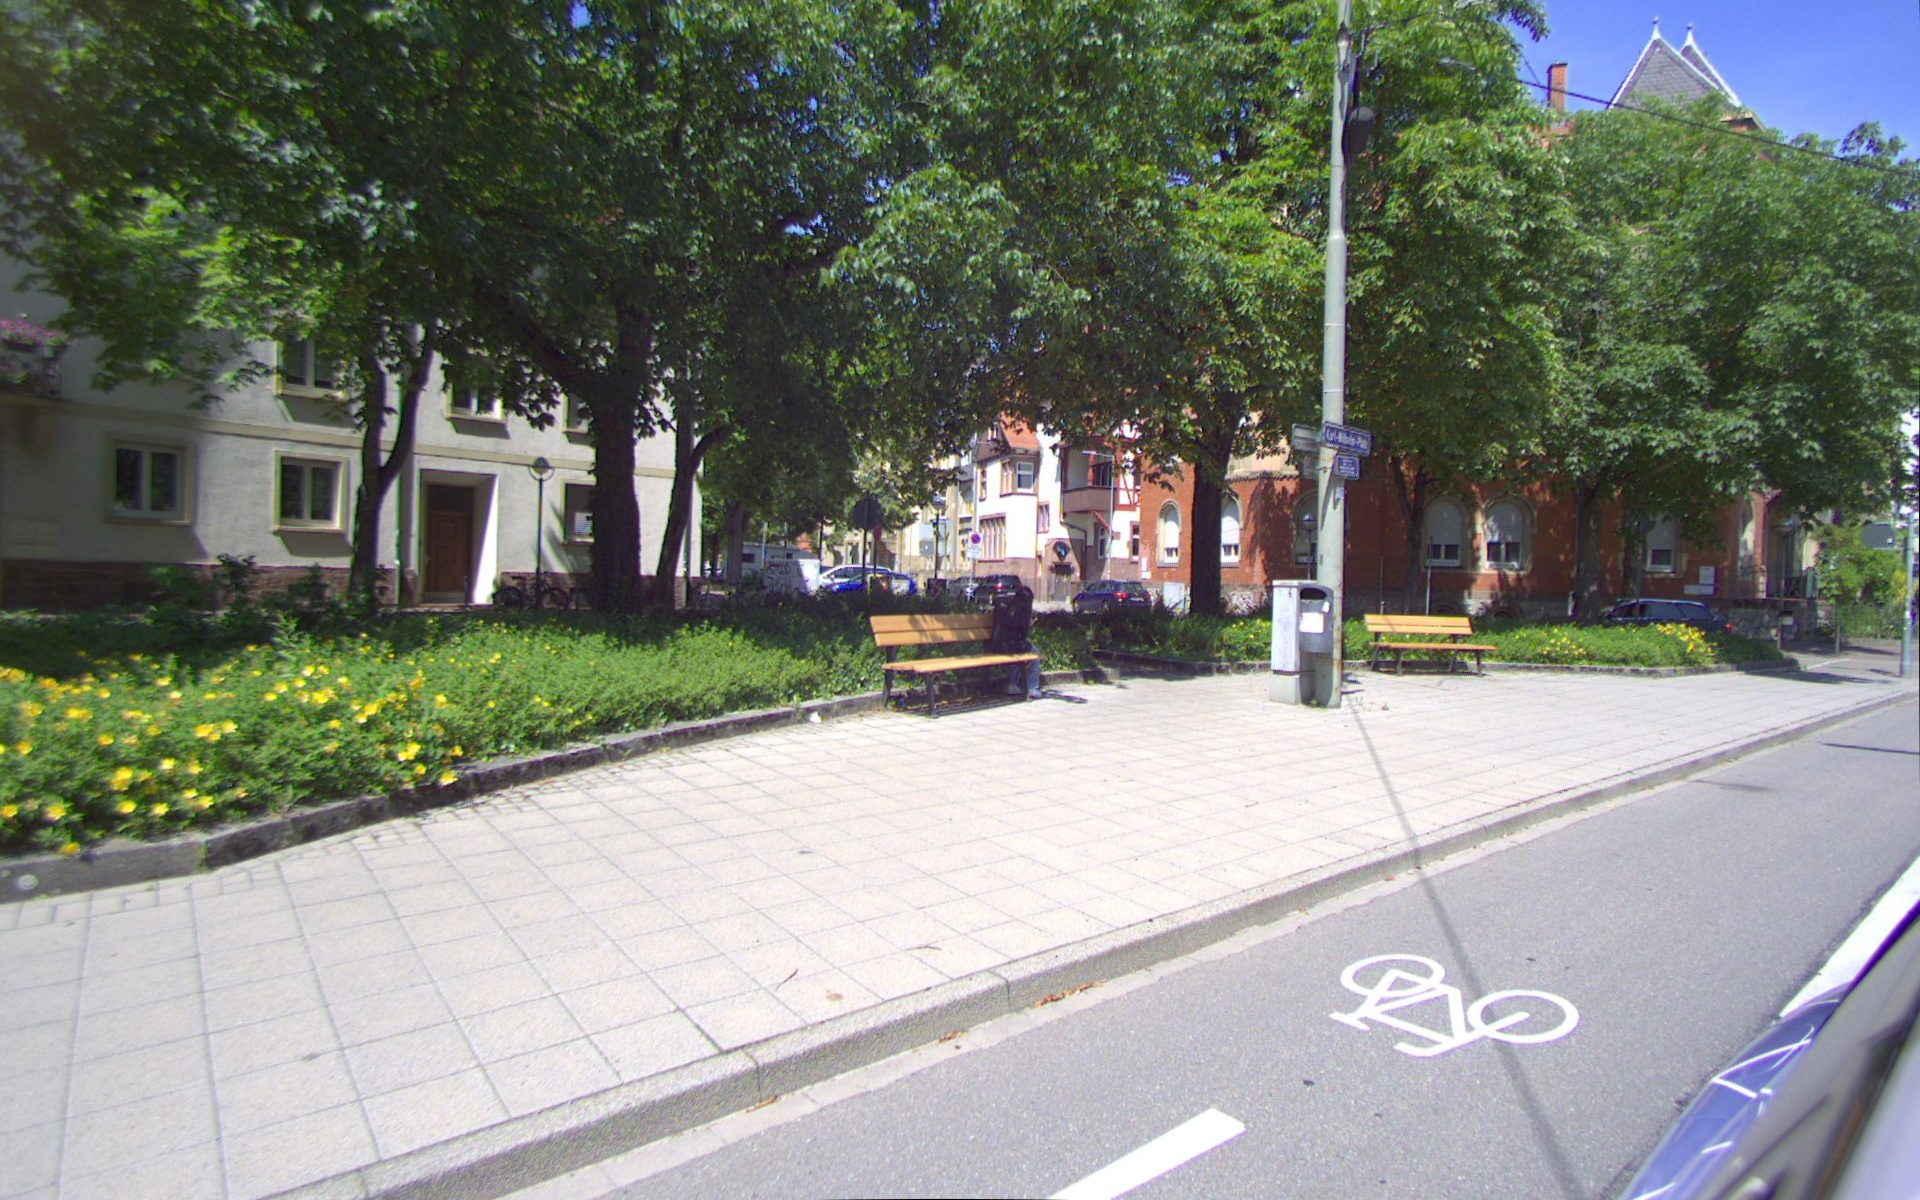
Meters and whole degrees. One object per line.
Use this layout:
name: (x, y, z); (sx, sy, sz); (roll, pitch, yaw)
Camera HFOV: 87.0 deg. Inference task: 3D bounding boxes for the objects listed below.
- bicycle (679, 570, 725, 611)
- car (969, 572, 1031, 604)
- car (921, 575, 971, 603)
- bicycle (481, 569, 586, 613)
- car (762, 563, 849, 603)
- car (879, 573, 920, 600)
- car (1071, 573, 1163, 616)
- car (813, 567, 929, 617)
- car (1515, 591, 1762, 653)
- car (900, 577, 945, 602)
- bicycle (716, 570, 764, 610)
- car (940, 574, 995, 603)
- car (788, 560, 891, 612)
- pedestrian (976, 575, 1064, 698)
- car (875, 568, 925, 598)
bicycle: (-6.771, -0.257, 26.476); (0.736, 1.024, 2.273); (0, 0, -26)
car: (2.071, -0.615, 54.076); (1.897, 1.638, 4.318); (0, 0, -19)
car: (-0.914, -0.687, 63.254); (1.897, 1.638, 4.318); (0, 0, -19)
bicycle: (-10.248, -0.220, 24.376); (2.230, 1.024, 0.751); (-1, 0, -41)
car: (-8.080, -0.880, 52.939); (4.219, 2.029, 1.942); (0, 0, -18)
car: (-4.497, -1.002, 74.463); (1.897, 1.897, 4.318); (0, 0, -19)
car: (6.280, -0.228, 41.027); (1.897, 1.638, 4.318); (0, 0, -19)
car: (-3.540, -0.319, 40.017); (4.219, 1.903, 1.942); (0, 0, -18)
car: (17.507, 0.538, 26.428); (4.968, 1.501, 1.927); (0, 0, 18)
car: (-2.561, -0.723, 67.950); (1.897, 1.638, 4.318); (0, 0, -19)
bicycle: (-5.863, -0.266, 26.905); (0.736, 1.024, 2.273); (0, 0, -26)
car: (0.384, -0.650, 58.683); (1.897, 1.638, 4.318); (0, 0, -19)
car: (-5.367, -0.625, 44.830); (4.219, 2.219, 1.942); (0, 0, -18)
pedestrian: (0.603, 0.339, 10.076); (0.562, 1.156, 0.718); (3, 2, 33)
car: (-3.328, -0.934, 55.275); (1.669, 1.525, 3.660); (1, 1, -21)
